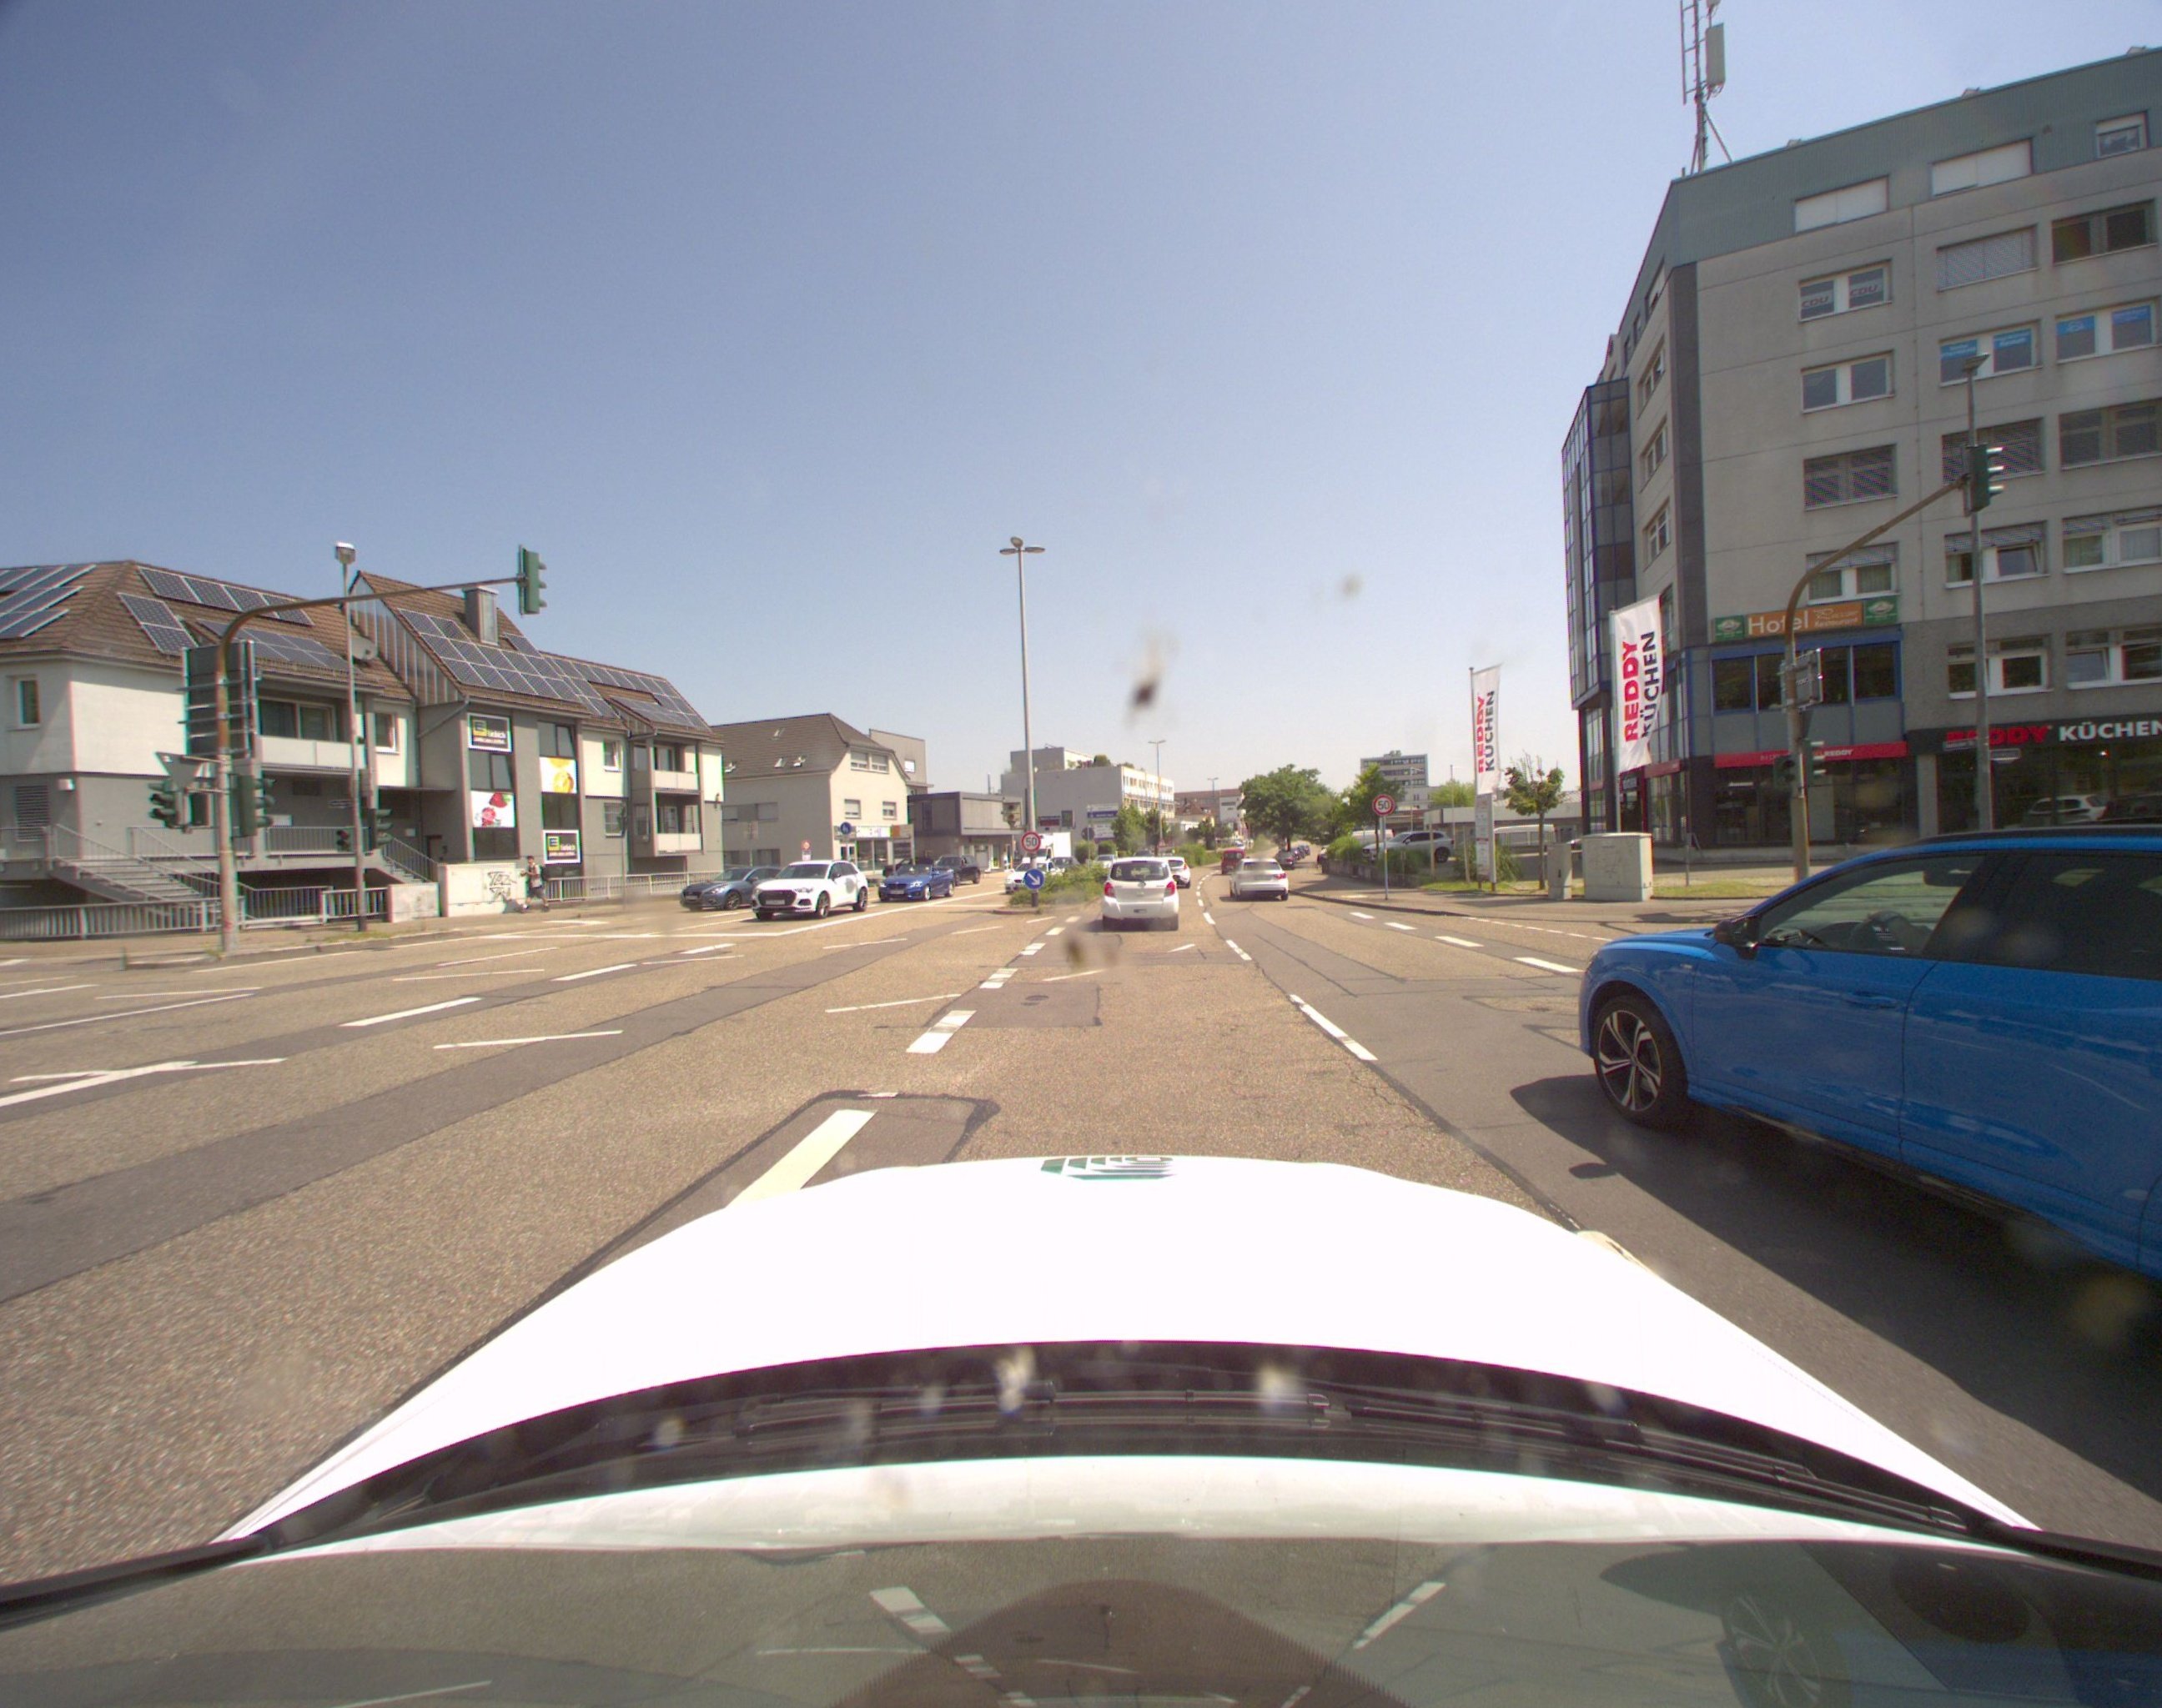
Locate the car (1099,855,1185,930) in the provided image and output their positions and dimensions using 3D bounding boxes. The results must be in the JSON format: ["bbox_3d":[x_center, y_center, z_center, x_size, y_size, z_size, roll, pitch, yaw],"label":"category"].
[{"bbox_3d":[1.413,0.802,18.142,1.703,1.511,3.252,-1,-1,6],"label":"car"}]

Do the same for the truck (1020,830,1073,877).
[{"bbox_3d":[-2.594,0.020,63.128,2.249,3.418,7.064,-1,-1,13],"label":"truck"}]

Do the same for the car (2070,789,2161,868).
[{"bbox_3d":[23.661,-0.562,17.183,1.526,1.675,4.351,-2,0,20],"label":"car"}]

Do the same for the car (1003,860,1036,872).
[{"bbox_3d":[-8.146,1.593,108.131,3.944,1.467,1.971,-3,0,13],"label":"car"}]

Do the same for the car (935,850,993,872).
[{"bbox_3d":[-9.313,0.541,64.845,4.026,1.521,2.008,-3,-1,15],"label":"car"}]

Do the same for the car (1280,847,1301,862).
[{"bbox_3d":[24.483,0.040,94.908,1.945,1.530,5.185,-5,0,18],"label":"car"}]

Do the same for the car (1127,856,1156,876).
[{"bbox_3d":[5.612,1.071,74.655,1.896,1.751,4.776,-1,-1,13],"label":"car"}]

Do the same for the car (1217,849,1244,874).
[{"bbox_3d":[10.593,0.506,57.654,1.783,1.729,3.984,-1,0,10],"label":"car"}]

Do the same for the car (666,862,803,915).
[{"bbox_3d":[-11.656,1.123,27.695,1.477,1.449,4.297,-1,2,26],"label":"car"}]

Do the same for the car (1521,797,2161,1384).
[{"bbox_3d":[3.884,0.625,3.221,1.906,1.597,4.395,-2,0,0],"label":"car"}]

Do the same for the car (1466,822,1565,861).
[{"bbox_3d":[30.398,-0.825,57.190,5.835,2.528,2.131,-1,-1,20],"label":"car"}]

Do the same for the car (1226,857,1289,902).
[{"bbox_3d":[6.003,0.816,28.061,1.659,1.399,3.799,-2,0,5],"label":"car"}]

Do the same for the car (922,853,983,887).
[{"bbox_3d":[-6.961,0.824,44.705,1.982,1.656,4.604,-2,0,8],"label":"car"}]

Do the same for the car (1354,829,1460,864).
[{"bbox_3d":[16.855,-0.375,42.252,4.721,1.714,1.995,-1,-1,-8],"label":"car"}]

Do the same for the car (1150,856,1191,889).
[{"bbox_3d":[4.304,0.842,38.913,1.820,1.450,4.007,-1,0,7],"label":"car"}]

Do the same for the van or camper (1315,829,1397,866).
[{"bbox_3d":[24.704,-0.601,73.448,6.743,2.897,2.286,-3,0,17],"label":"van or camper"}]

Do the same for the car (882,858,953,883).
[{"bbox_3d":[-11.727,1.132,58.439,4.569,1.627,1.862,1,1,17],"label":"car"}]

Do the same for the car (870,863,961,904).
[{"bbox_3d":[-6.143,1.068,30.805,1.851,1.366,4.359,-1,0,10],"label":"car"}]

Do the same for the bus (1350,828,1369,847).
[{"bbox_3d":[52.151,-3.162,152.339,2.780,3.078,12.352,-2,2,22],"label":"bus"}]

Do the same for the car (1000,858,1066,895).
[{"bbox_3d":[-1.996,0.931,35.187,1.852,1.431,4.756,-1,0,9],"label":"car"}]

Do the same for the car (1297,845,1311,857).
[{"bbox_3d":[30.522,-0.416,111.391,1.700,1.548,4.811,-3,0,16],"label":"car"}]

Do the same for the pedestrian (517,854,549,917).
[{"bbox_3d":[-17.882,1.013,26.584,0.500,2.013,0.743,-1,1,2],"label":"pedestrian"}]

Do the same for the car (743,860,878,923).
[{"bbox_3d":[-7.593,0.998,23.365,1.807,1.570,4.565,-1,0,8],"label":"car"}]

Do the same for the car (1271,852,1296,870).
[{"bbox_3d":[16.557,0.566,66.488,1.784,1.406,4.339,-1,0,16],"label":"car"}]

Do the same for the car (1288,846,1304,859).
[{"bbox_3d":[26.567,-0.173,100.642,1.841,1.481,5.177,-2,0,15],"label":"car"}]

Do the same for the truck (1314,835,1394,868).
[{"bbox_3d":[23.173,-0.201,69.145,6.194,2.336,2.380,-4,1,19],"label":"truck"}]

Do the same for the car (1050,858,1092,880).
[{"bbox_3d":[-0.597,0.954,53.498,1.885,1.361,4.211,-2,-1,12],"label":"car"}]
